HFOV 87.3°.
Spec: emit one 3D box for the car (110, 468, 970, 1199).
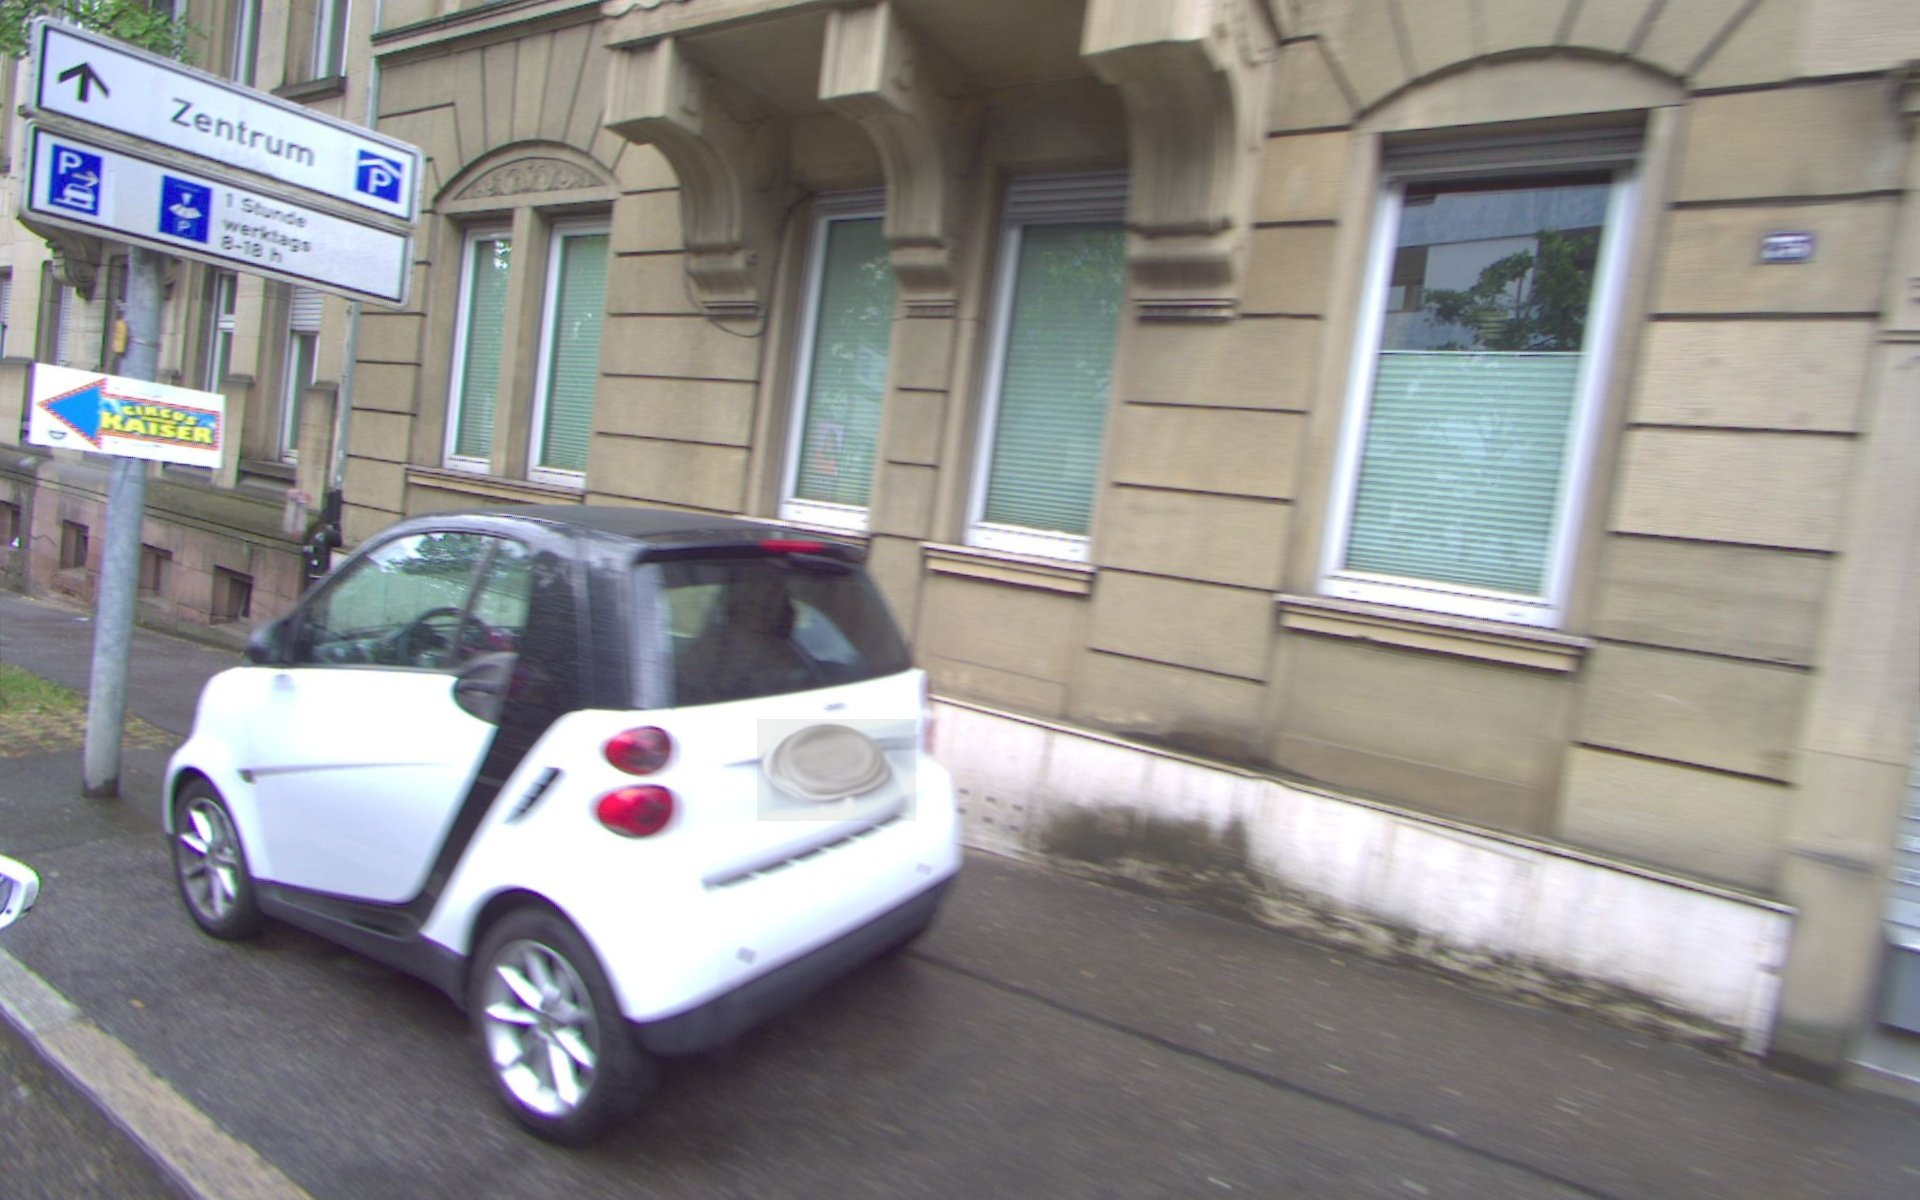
[{"bbox_3d":[-1.594,0.436,3.524,2.927,1.565,1.298,7,5,32],"label":"car"}]
